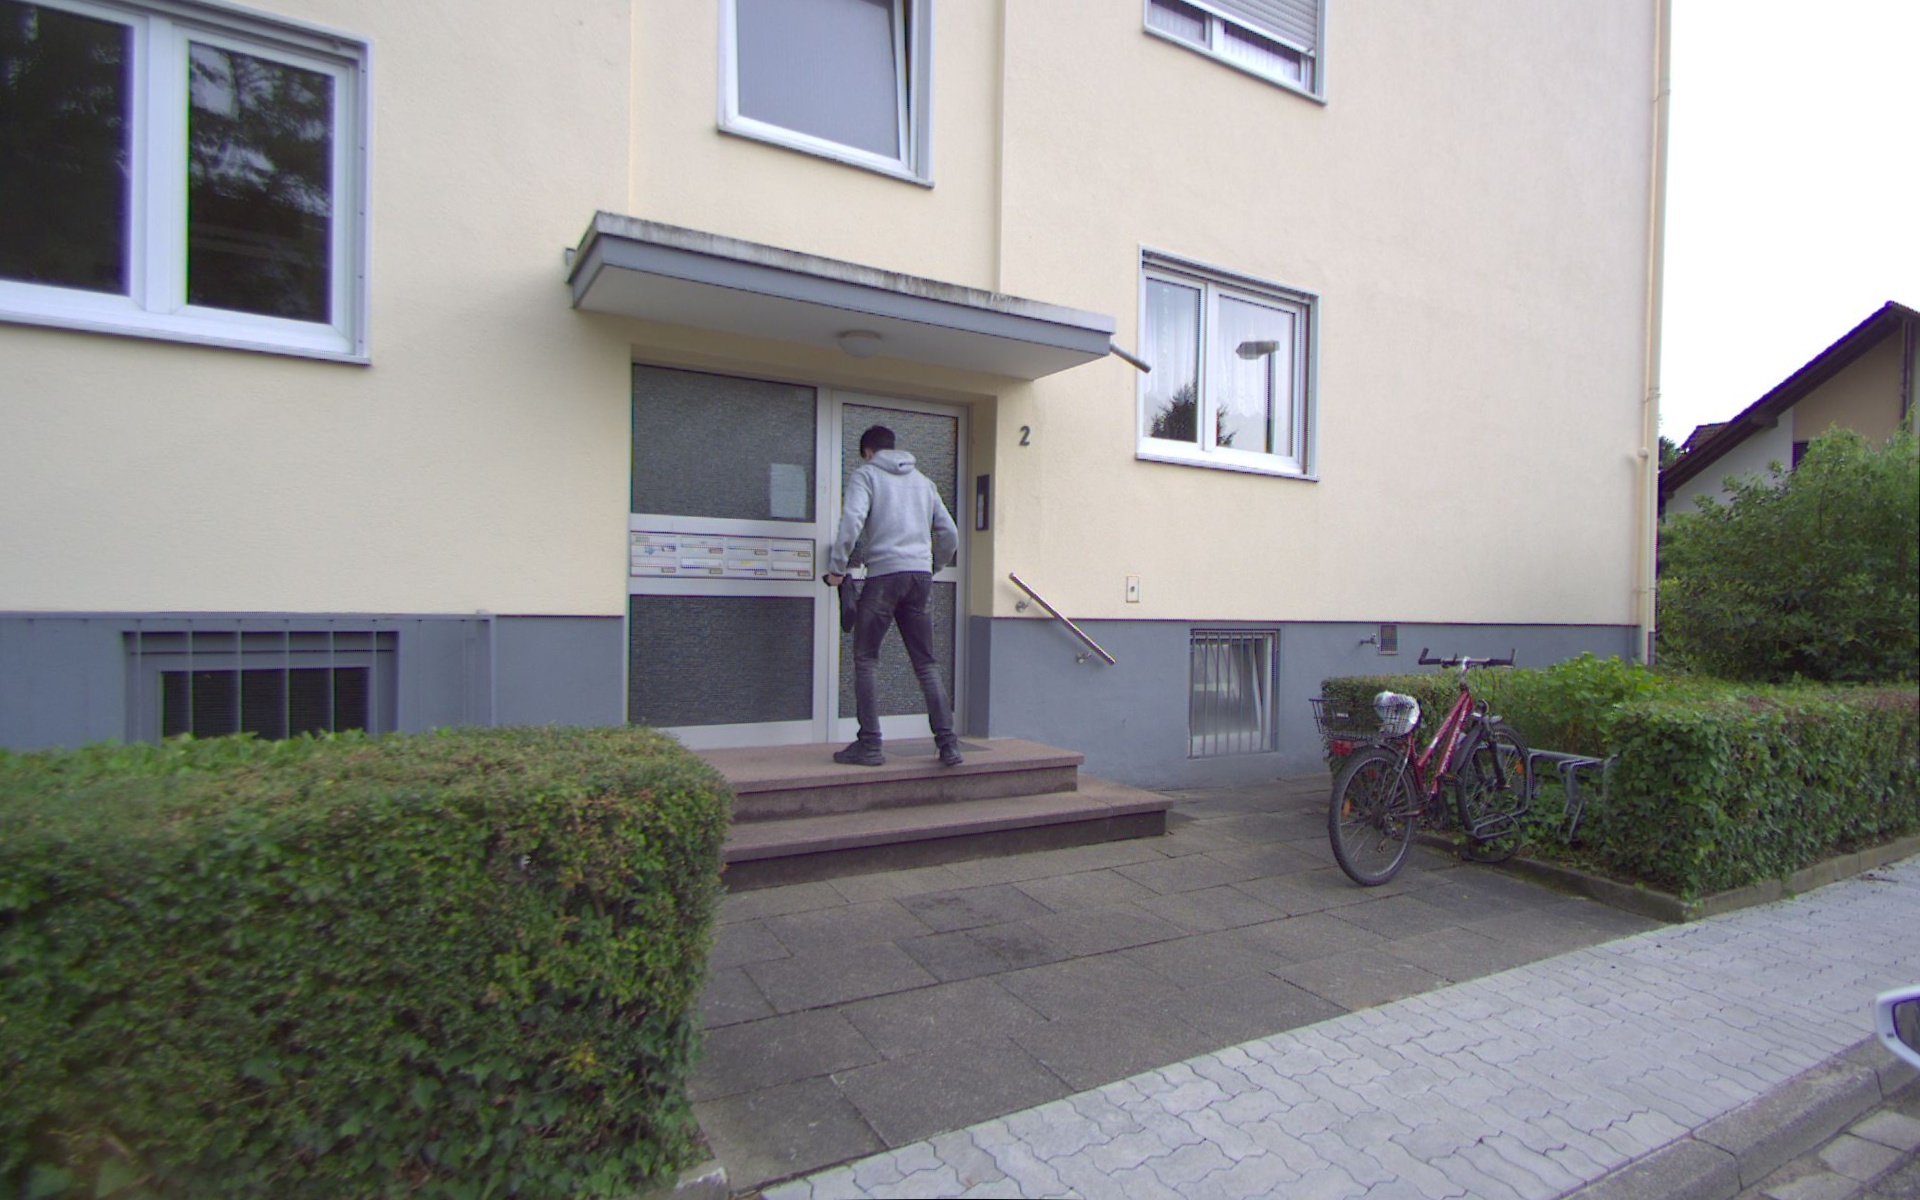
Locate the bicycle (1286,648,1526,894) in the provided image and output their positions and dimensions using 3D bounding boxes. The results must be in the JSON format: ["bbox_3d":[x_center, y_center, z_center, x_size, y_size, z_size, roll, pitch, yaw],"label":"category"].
[{"bbox_3d":[2.260,0.795,5.032,1.401,1.090,0.316,1,1,-31],"label":"bicycle"}]

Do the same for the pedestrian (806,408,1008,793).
[{"bbox_3d":[-0.276,0.003,5.122,0.749,1.772,0.674,1,1,-37],"label":"pedestrian"}]
